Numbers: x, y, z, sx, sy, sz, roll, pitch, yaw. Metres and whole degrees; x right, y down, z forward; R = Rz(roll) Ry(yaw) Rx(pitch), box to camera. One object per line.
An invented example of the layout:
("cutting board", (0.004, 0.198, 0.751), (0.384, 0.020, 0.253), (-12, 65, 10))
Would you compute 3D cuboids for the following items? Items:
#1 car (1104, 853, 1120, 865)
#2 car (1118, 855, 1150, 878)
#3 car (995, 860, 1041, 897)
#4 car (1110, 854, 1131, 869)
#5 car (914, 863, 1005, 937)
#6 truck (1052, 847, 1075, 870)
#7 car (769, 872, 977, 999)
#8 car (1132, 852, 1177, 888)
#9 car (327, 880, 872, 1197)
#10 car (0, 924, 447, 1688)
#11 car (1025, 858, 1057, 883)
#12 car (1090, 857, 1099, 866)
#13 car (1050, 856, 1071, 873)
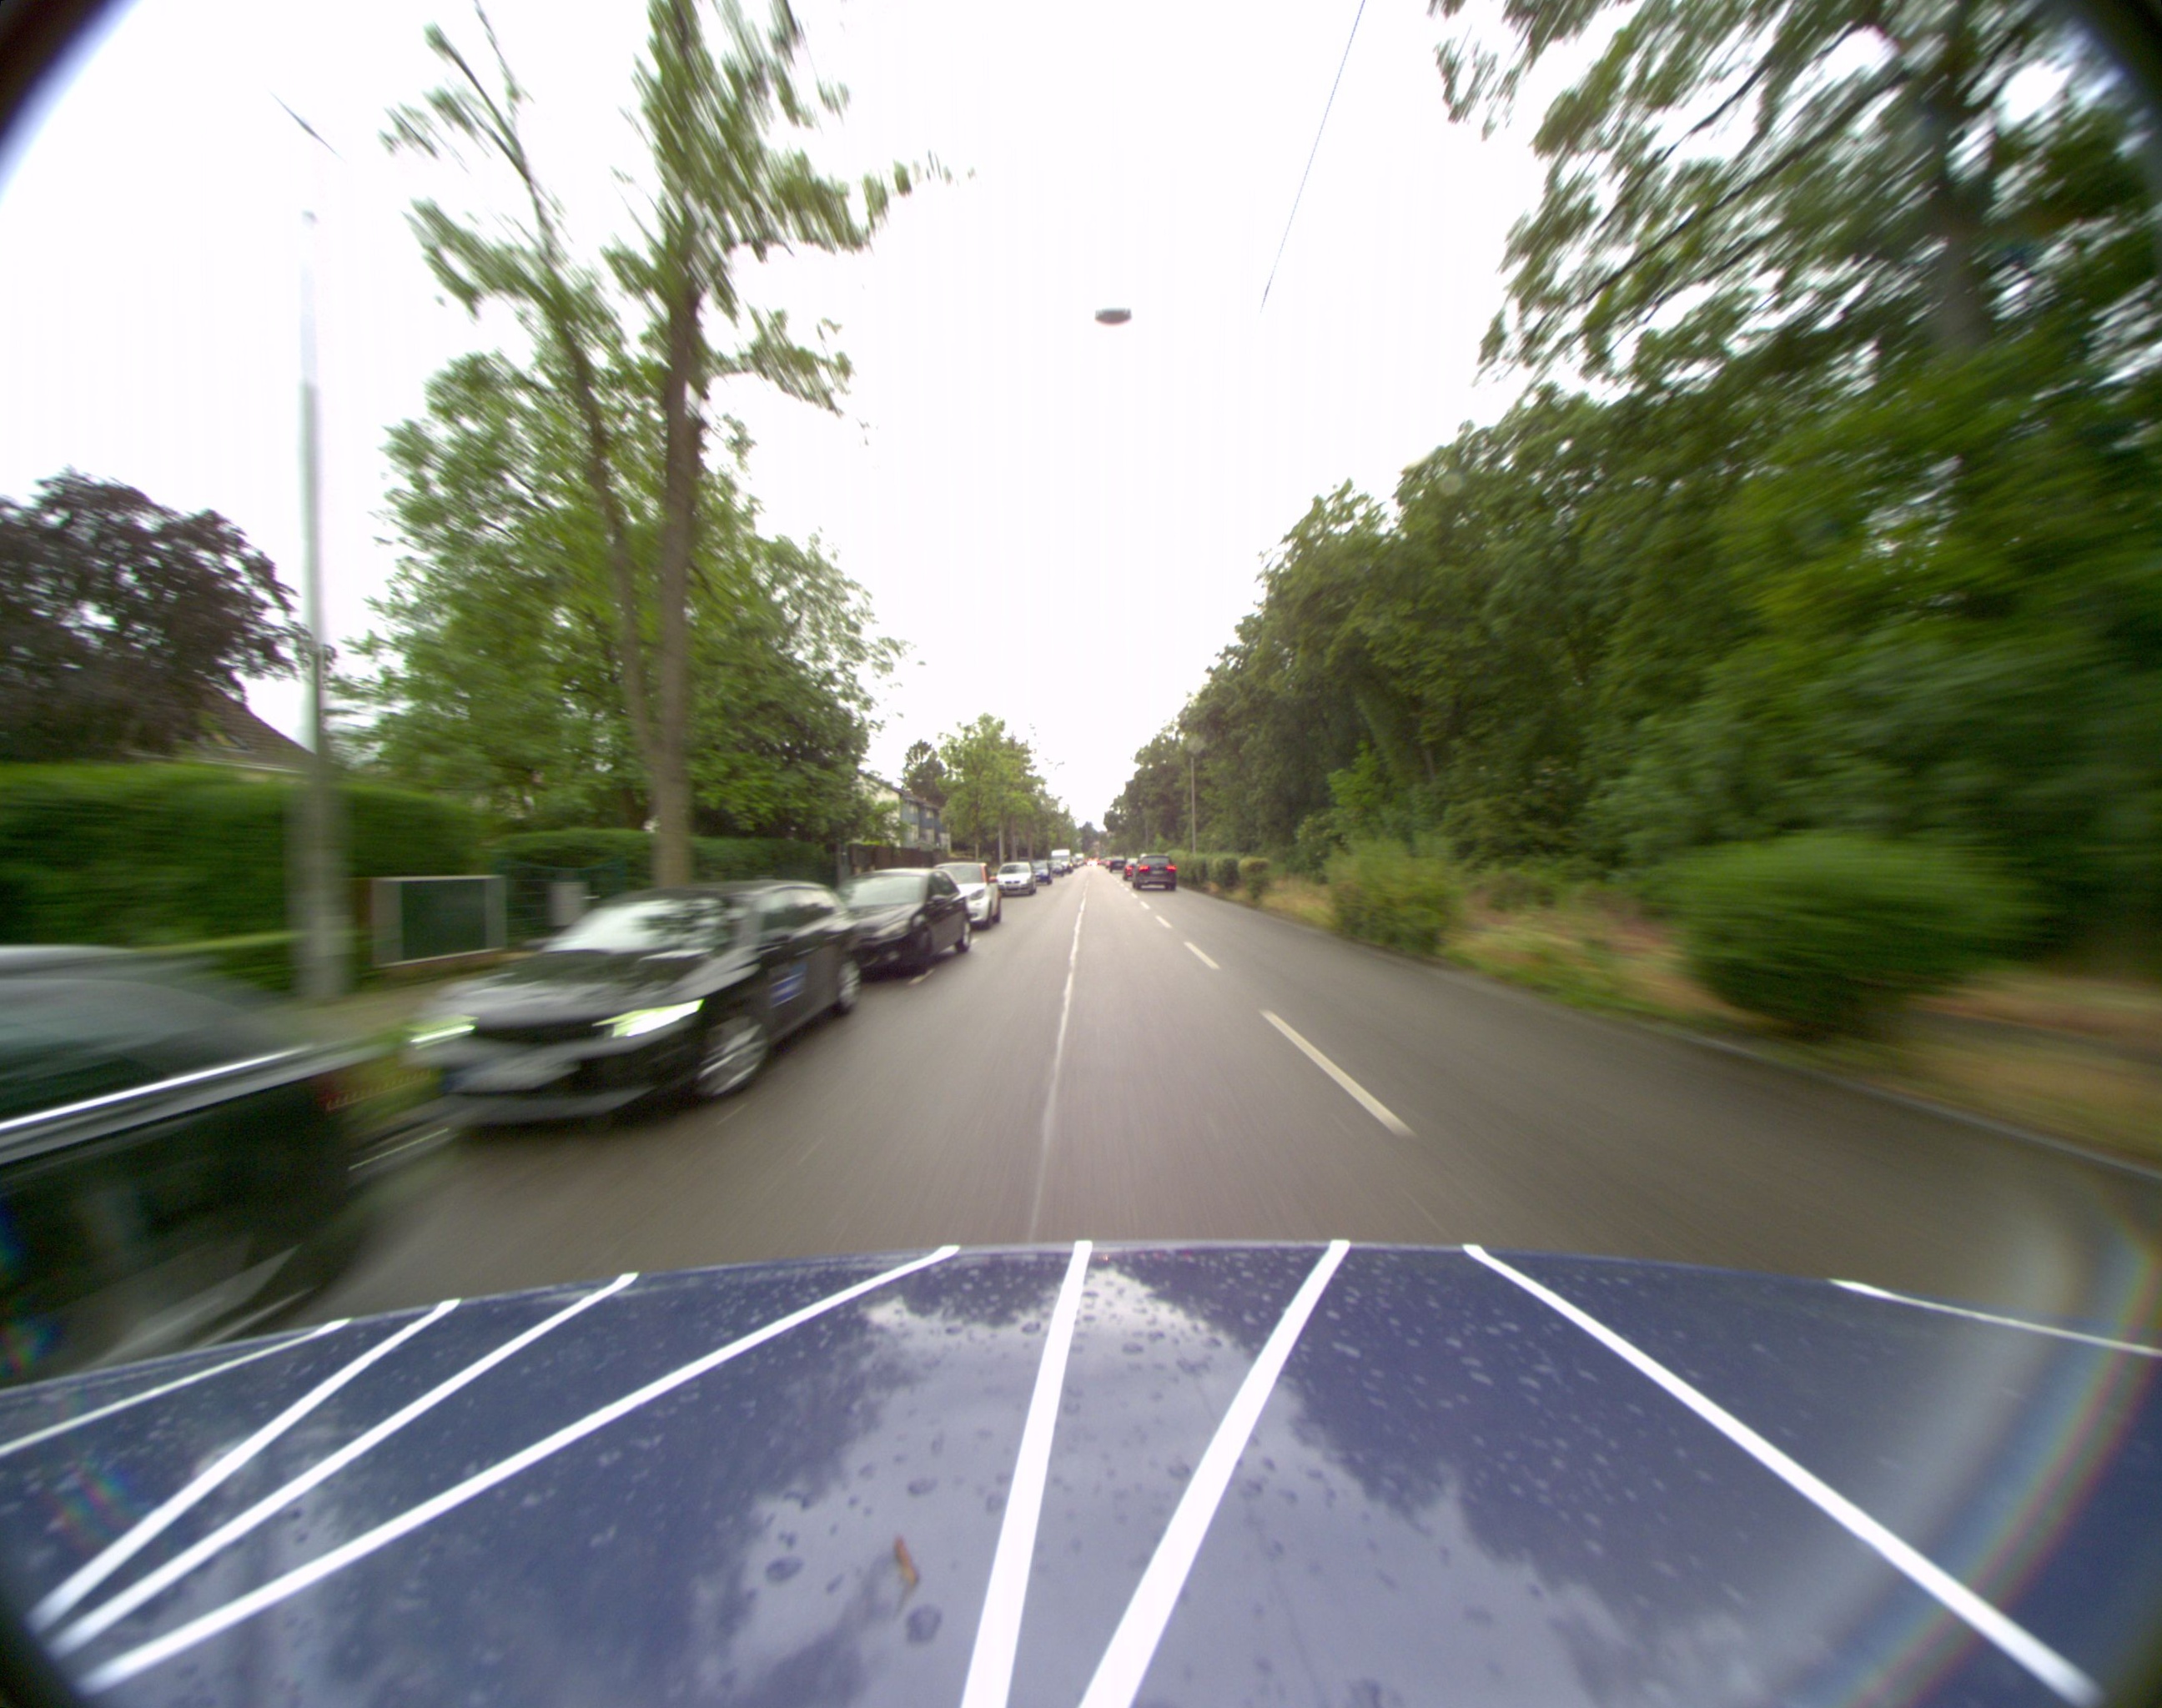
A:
("car", (4.280, 0.676, 105.333), (1.998, 1.543, 4.000), (0, 0, 0))
("car", (3.459, 0.778, 50.315), (1.718, 1.438, 4.051), (0, 0, -2))
("car", (-2.752, 1.042, 33.878), (1.675, 1.420, 3.699), (-3, 0, 1))
("car", (3.977, 0.705, 76.824), (1.851, 1.490, 3.999), (0, 0, -1))
("car", (-2.785, 1.023, 17.975), (1.601, 1.508, 2.801), (-3, 0, 1))
("truck", (-1.793, 0.413, 80.051), (2.230, 2.321, 5.113), (0, 0, 0))
("car", (-2.896, 1.080, 11.549), (1.732, 1.402, 4.001), (-3, 0, 4))
("car", (3.407, 0.714, 35.837), (1.680, 1.608, 4.062), (0, 0, 0))
("car", (-3.171, 1.057, 6.260), (1.621, 1.459, 4.410), (-3, 0, 0))
("car", (-3.234, 1.055, 0.304), (1.757, 1.517, 4.823), (-3, 0, 1))
("car", (-2.444, 0.980, 47.135), (1.675, 1.420, 3.699), (-3, 0, 1))
("car", (3.319, 1.900, 188.655), (1.998, 2.002, 4.000), (-3, 1, 3))
("car", (-1.780, 0.891, 67.636), (1.789, 1.452, 3.999), (0, 0, 0))
